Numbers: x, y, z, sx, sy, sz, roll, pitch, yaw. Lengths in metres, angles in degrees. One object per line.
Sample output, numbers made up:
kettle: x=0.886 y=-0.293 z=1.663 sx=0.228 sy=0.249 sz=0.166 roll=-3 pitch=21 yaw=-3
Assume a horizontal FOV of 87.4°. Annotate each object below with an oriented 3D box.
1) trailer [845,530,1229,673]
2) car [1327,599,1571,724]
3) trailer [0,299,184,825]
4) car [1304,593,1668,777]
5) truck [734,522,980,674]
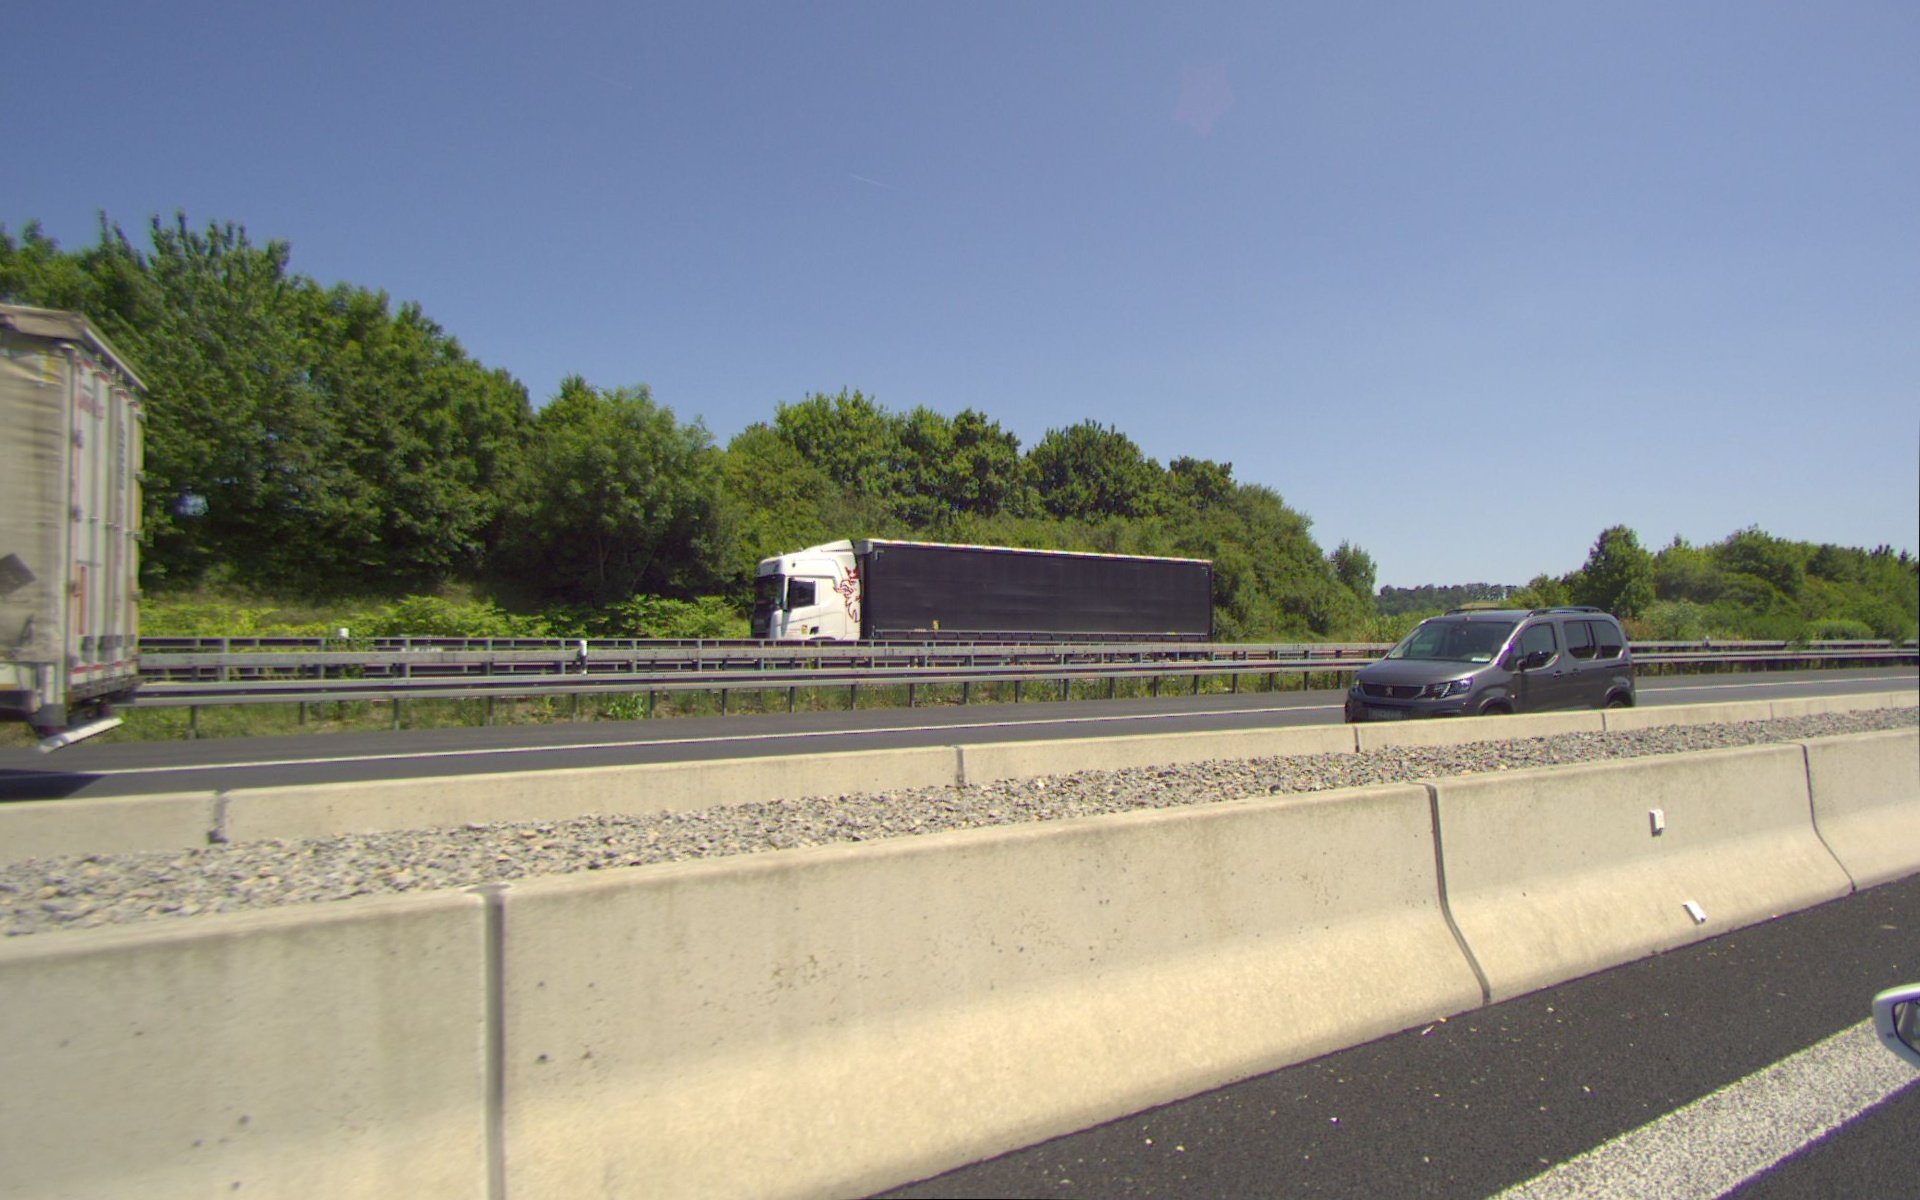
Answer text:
trailer: x=2.969 y=0.235 z=33.675 sx=13.379 sy=4.099 sz=3.204 roll=2 pitch=0 yaw=-30
car: x=9.040 y=1.072 z=18.471 sx=4.435 sy=2.040 sz=1.983 roll=2 pitch=0 yaw=-32
trailer: x=-12.747 y=-0.456 z=6.411 sx=11.922 sy=4.099 sz=2.896 roll=2 pitch=0 yaw=-30
car: x=7.056 y=1.010 z=13.331 sx=4.899 sy=2.040 sz=2.040 roll=2 pitch=0 yaw=-31
truck: x=-3.047 y=0.028 z=30.123 sx=6.562 sy=4.099 sz=3.204 roll=2 pitch=0 yaw=-30
